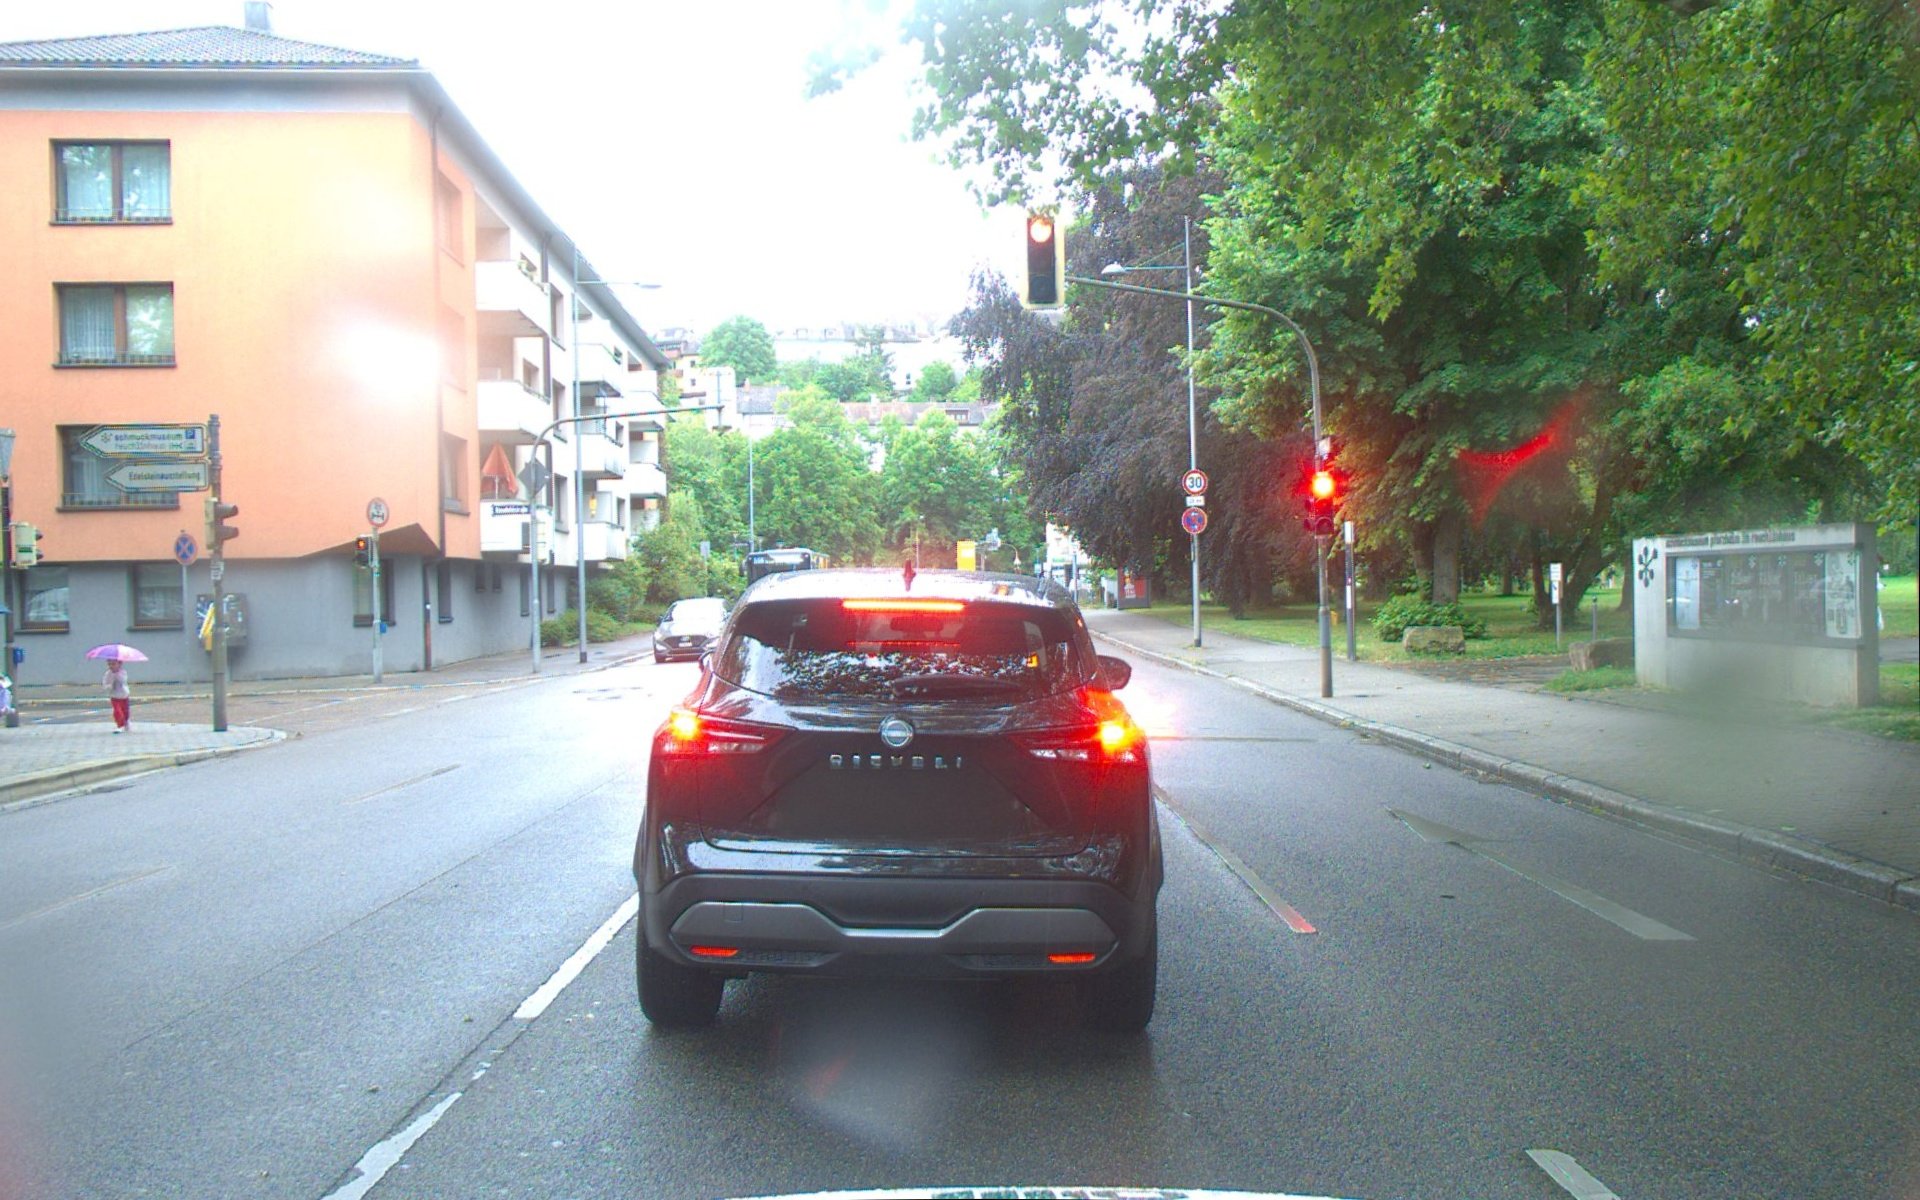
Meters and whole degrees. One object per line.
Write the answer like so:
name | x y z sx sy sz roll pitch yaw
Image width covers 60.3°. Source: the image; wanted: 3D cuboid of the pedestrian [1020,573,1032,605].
pedestrian | 4.556 -0.768 114.082 0.752 2.222 0.711 1 -1 2

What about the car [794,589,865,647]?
car | -3.487 0.451 44.589 1.591 1.439 3.454 -2 0 0

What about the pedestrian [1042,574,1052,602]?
pedestrian | 5.698 -0.758 108.457 0.606 1.810 0.550 -2 0 -1

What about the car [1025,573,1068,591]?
car | 8.578 -1.776 164.296 3.916 1.713 1.995 -2 0 -11

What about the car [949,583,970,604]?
car | -0.052 -0.526 136.259 1.714 1.662 3.634 -2 1 0

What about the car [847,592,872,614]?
car | -7.459 0.200 123.142 1.643 1.495 4.215 -3 1 -2

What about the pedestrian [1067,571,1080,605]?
pedestrian | 6.204 -0.668 90.674 0.606 1.810 0.778 -2 0 -1

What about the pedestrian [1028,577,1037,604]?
pedestrian | 4.528 -0.577 103.284 0.533 1.680 0.490 1 -1 0

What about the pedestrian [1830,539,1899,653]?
pedestrian | 14.435 -0.056 26.399 0.651 1.787 0.722 1 -1 -9

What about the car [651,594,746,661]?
car | -6.396 0.639 40.877 1.772 1.441 4.029 -3 1 -2

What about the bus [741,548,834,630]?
bus | -6.982 -0.437 68.392 2.710 3.026 11.779 -1 0 -1

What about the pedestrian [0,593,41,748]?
pedestrian | -11.581 0.810 19.434 0.973 1.772 1.207 1 0 -9

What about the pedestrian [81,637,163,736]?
pedestrian | -10.584 1.086 20.912 0.671 1.195 0.825 1 0 -7

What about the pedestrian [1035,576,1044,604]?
pedestrian | 4.892 -0.599 101.821 0.504 1.684 0.550 1 -1 -1

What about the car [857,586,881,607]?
car | -7.491 -0.283 136.572 1.714 1.662 3.634 -2 1 0

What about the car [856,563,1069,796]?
car | 0.046 0.601 14.666 1.588 1.738 3.771 -2 0 1

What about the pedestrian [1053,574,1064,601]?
pedestrian | 6.514 -0.826 109.044 0.606 1.810 0.550 -2 0 -1

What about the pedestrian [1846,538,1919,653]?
pedestrian | 14.241 -0.063 25.511 0.651 1.742 0.789 1 -1 -9

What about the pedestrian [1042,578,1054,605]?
pedestrian | 5.507 -0.507 103.375 0.685 1.680 0.628 1 -1 0

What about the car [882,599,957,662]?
car | -1.028 0.727 41.011 1.772 1.442 4.029 0 0 -2

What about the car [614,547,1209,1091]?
car | -0.171 0.672 6.996 1.769 1.618 3.999 1 0 -1

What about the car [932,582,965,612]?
car | -0.568 -0.151 83.150 1.591 1.439 3.454 -2 0 0
